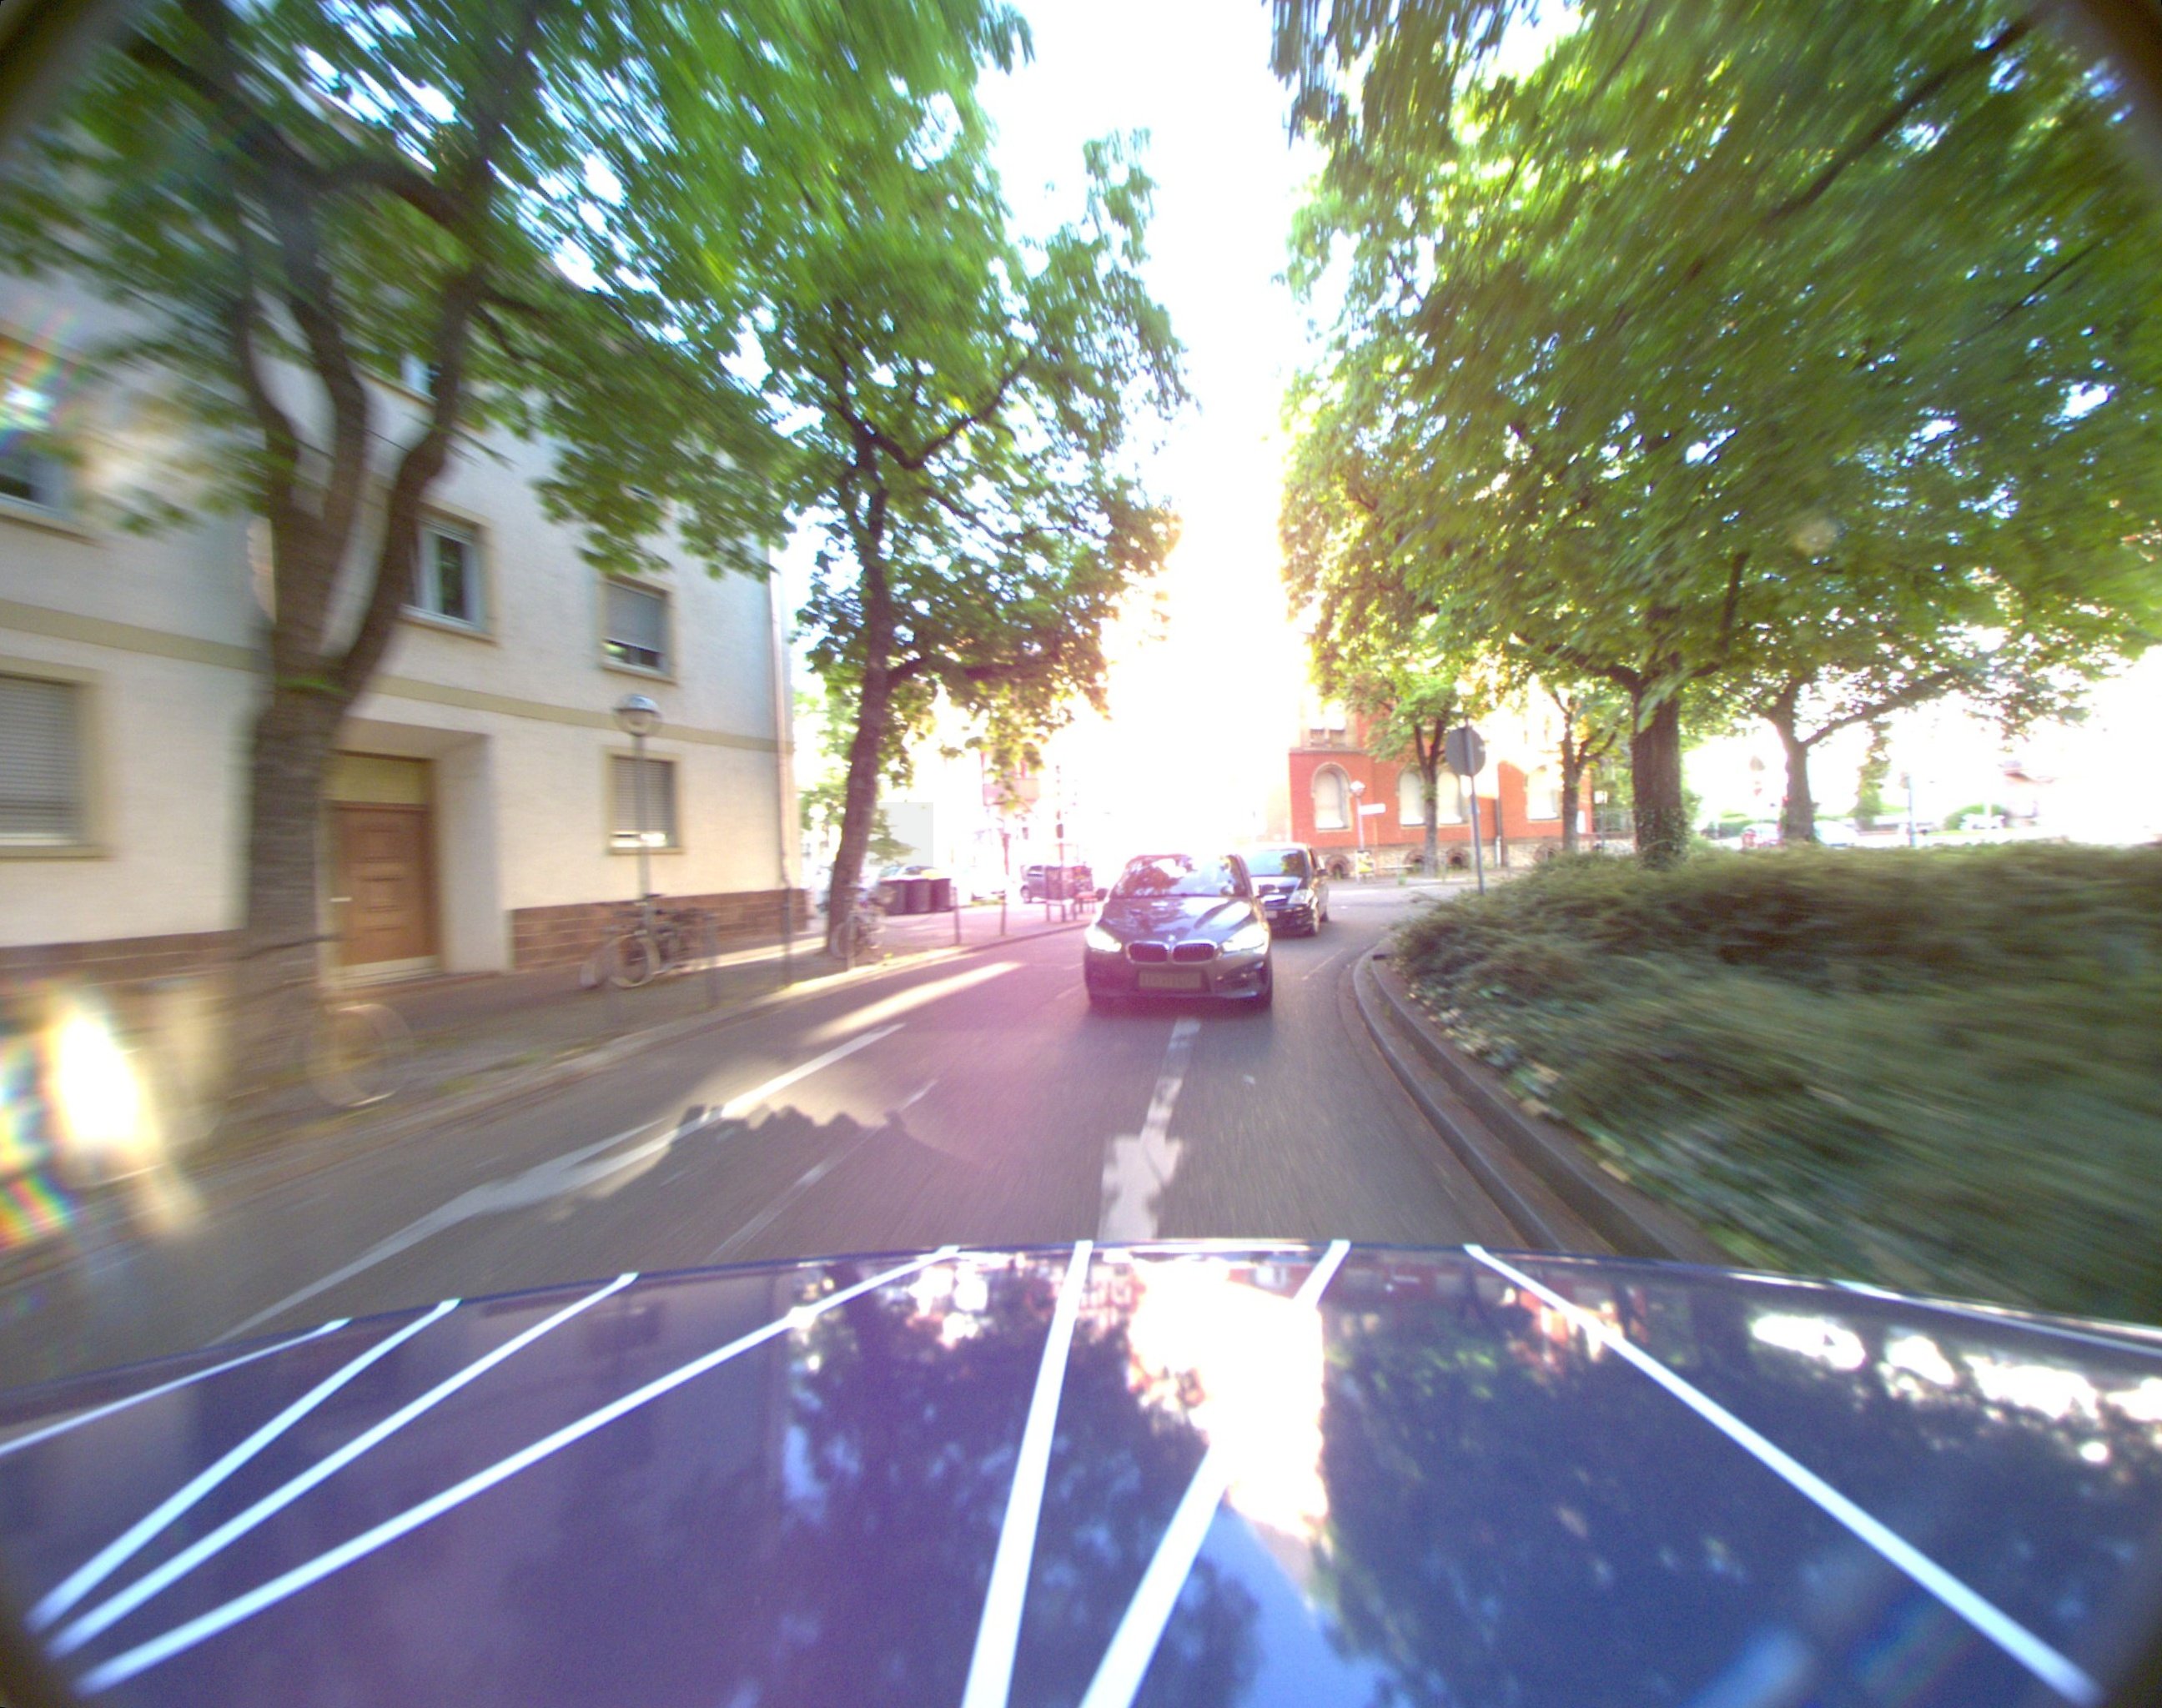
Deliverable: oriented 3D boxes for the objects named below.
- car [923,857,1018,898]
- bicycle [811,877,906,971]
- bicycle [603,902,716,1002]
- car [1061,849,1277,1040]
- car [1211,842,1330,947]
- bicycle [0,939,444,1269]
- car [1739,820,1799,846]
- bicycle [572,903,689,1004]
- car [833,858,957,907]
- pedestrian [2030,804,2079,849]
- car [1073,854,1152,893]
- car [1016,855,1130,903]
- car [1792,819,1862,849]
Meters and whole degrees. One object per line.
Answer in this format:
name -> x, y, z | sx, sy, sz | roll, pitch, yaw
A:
car -> -4.760, 1.028, 32.393 | 4.175, 1.543, 1.809 | -3, 0, 45
bicycle -> -3.497, 1.061, 12.150 | 0.767, 1.297, 1.903 | -3, 0, 5
bicycle -> -5.491, 1.239, 10.002 | 0.334, 1.087, 1.637 | -3, 0, 7
car -> 1.178, 0.775, 8.600 | 1.792, 1.569, 4.264 | -2, 0, 12
car -> 3.594, 0.647, 13.947 | 1.677, 1.619, 3.692 | -3, 0, 20
bicycle -> -4.843, 1.215, 4.291 | 0.719, 1.216, 1.915 | -3, 0, 4
car -> 42.997, -1.333, 47.567 | 1.732, 1.409, 4.005 | -3, 2, 27
bicycle -> -5.857, 1.252, 9.988 | 0.334, 1.087, 1.637 | -3, 0, 7
car -> -6.405, 0.961, 26.462 | 1.672, 1.417, 3.811 | -3, 0, 42
pedestrian -> 37.329, -1.060, 29.136 | 0.904, 1.625, 0.725 | -5, 0, -8
car -> 1.339, 0.847, 32.887 | 3.207, 1.531, 1.495 | -2, 0, 44
car -> -0.349, 0.921, 27.504 | 4.041, 1.543, 1.700 | -3, 0, 45
car -> 39.507, -1.063, 40.346 | 1.732, 1.409, 4.007 | -3, 0, 31
